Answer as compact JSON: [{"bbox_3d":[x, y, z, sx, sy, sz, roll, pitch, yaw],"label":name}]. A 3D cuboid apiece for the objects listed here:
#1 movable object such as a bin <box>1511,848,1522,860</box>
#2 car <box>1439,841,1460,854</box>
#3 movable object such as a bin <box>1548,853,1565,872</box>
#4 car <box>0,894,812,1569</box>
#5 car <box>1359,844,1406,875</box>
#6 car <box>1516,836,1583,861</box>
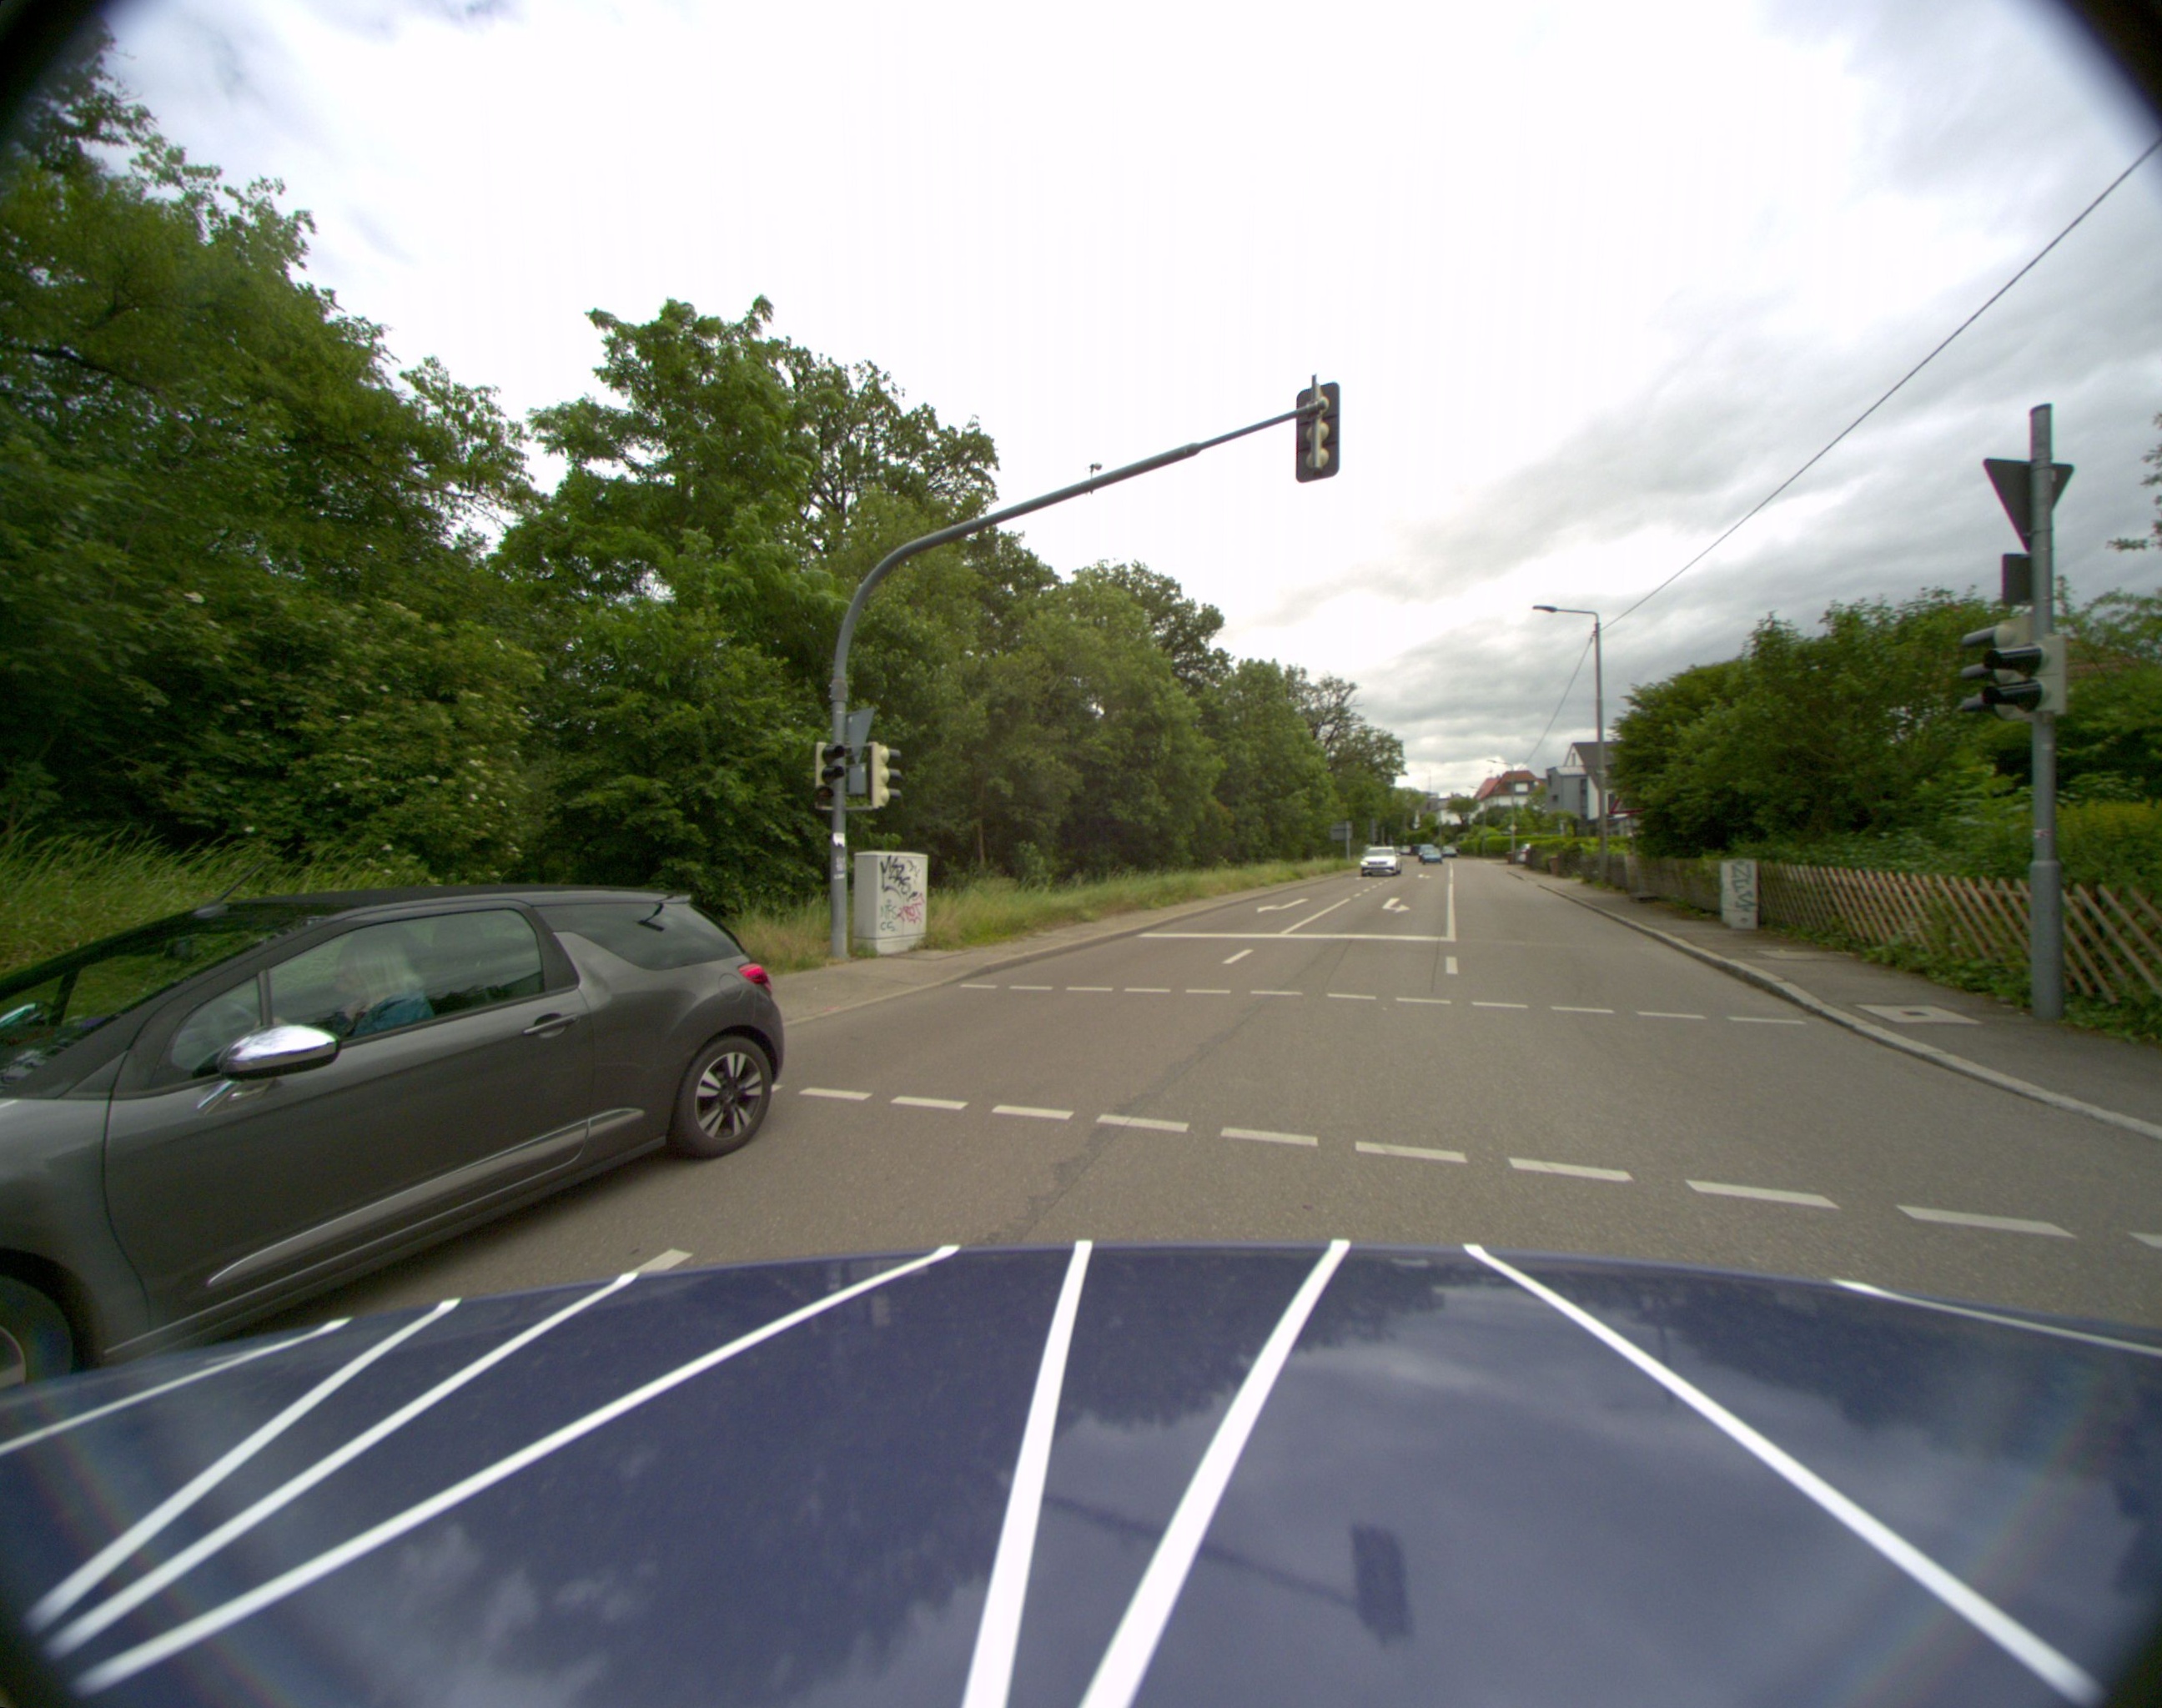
[{"bbox_3d":[34.104,-0.022,59.447,0.688,0.948,0.573,-1,1,24],"label":"movable object such as a bin"},{"bbox_3d":[48.306,-0.863,99.579,1.837,1.514,4.004,-1,0,16],"label":"car"},{"bbox_3d":[23.106,0.404,36.957,0.633,0.907,0.561,-2,0,36],"label":"movable object such as a bin"},{"bbox_3d":[-3.114,1.017,2.939,1.727,1.449,3.861,-2,0,22],"label":"car"},{"bbox_3d":[17.004,0.286,42.705,1.995,1.565,4.007,-1,1,28],"label":"car"},{"bbox_3d":[34.492,-0.398,56.059,3.990,1.584,1.721,-3,-1,26],"label":"car"}]
